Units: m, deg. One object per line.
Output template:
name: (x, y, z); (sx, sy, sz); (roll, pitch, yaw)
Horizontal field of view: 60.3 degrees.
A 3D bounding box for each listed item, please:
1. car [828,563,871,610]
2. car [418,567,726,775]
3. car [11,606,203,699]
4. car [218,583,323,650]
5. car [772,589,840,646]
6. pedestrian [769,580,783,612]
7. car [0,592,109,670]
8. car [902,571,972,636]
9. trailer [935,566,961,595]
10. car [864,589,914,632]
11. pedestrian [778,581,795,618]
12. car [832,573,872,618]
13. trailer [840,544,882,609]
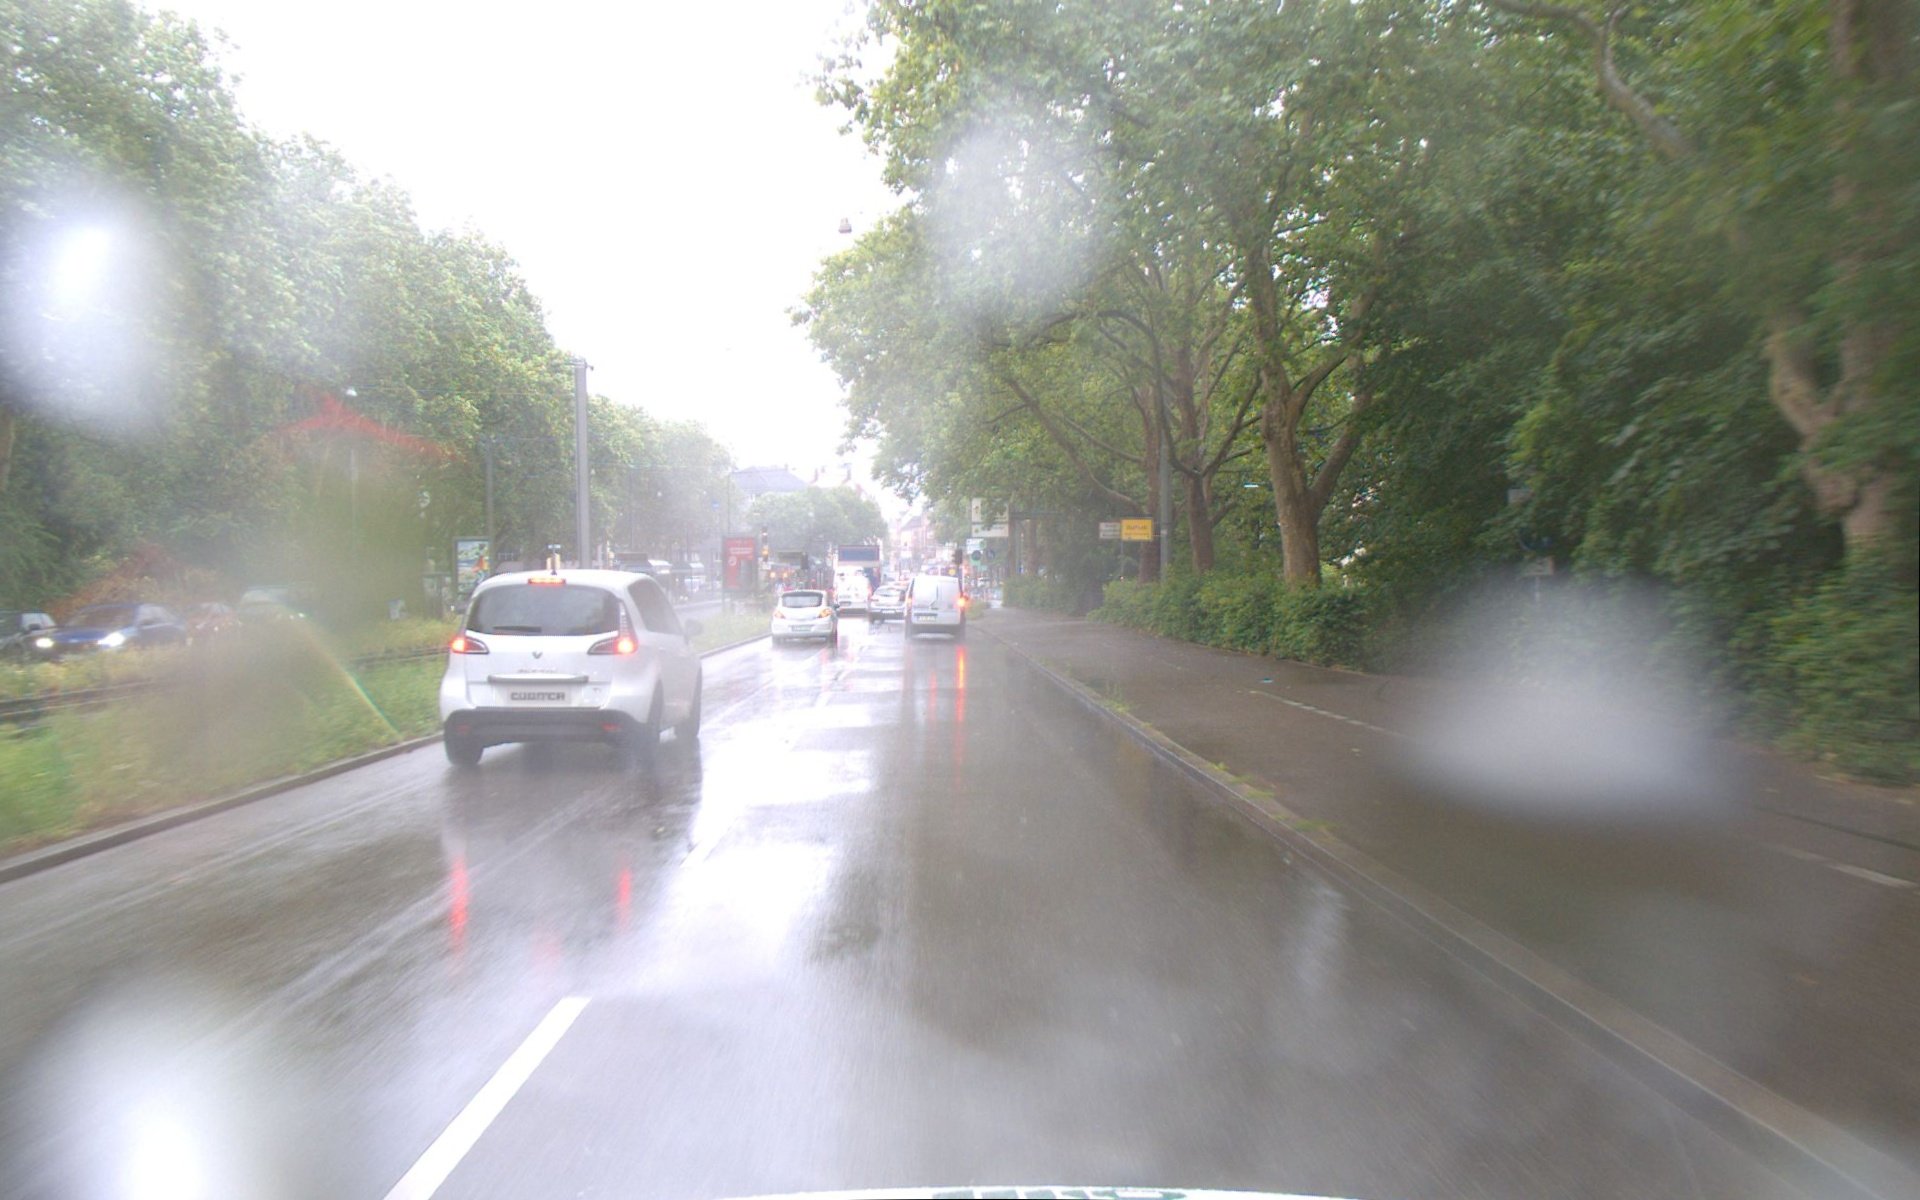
car: (-6.270, -0.708, 94.662); (2.283, 2.602, 6.111); (0, 0, -2)
car: (-3.372, 0.557, 15.224); (1.826, 1.652, 4.262); (0, 0, 0)
car: (-18.416, 1.076, 35.988); (1.992, 1.781, 4.690); (-2, 0, -5)
car: (-23.645, 0.525, 56.924); (1.993, 2.129, 4.797); (-2, 0, -6)
car: (-4.223, 0.481, 45.742); (1.691, 1.505, 3.803); (0, 0, -3)
pedestrian: (-10.073, -0.218, 90.656); (0.701, 1.775, 0.750); (-1, 0, -3)
car: (-22.123, 0.694, 39.021); (1.992, 1.686, 4.606); (-1, 1, -5)
car: (-0.702, 0.109, 47.987); (1.920, 1.808, 3.568); (0, 0, -3)
trailer: (-1.035, -1.669, 141.830); (1.954, 2.357, 4.665); (0, 0, -3)
car: (-2.800, 0.421, 65.622); (1.869, 1.646, 3.999); (0, 0, -1)
pedestrian: (-8.411, -0.025, 80.248); (0.774, 1.744, 0.770); (1, -1, -3)
car: (-5.596, -0.203, 86.169); (1.953, 2.302, 5.286); (0, 0, -2)
trailer: (-6.232, -1.460, 103.828); (2.539, 3.968, 7.631); (0, 1, -4)
